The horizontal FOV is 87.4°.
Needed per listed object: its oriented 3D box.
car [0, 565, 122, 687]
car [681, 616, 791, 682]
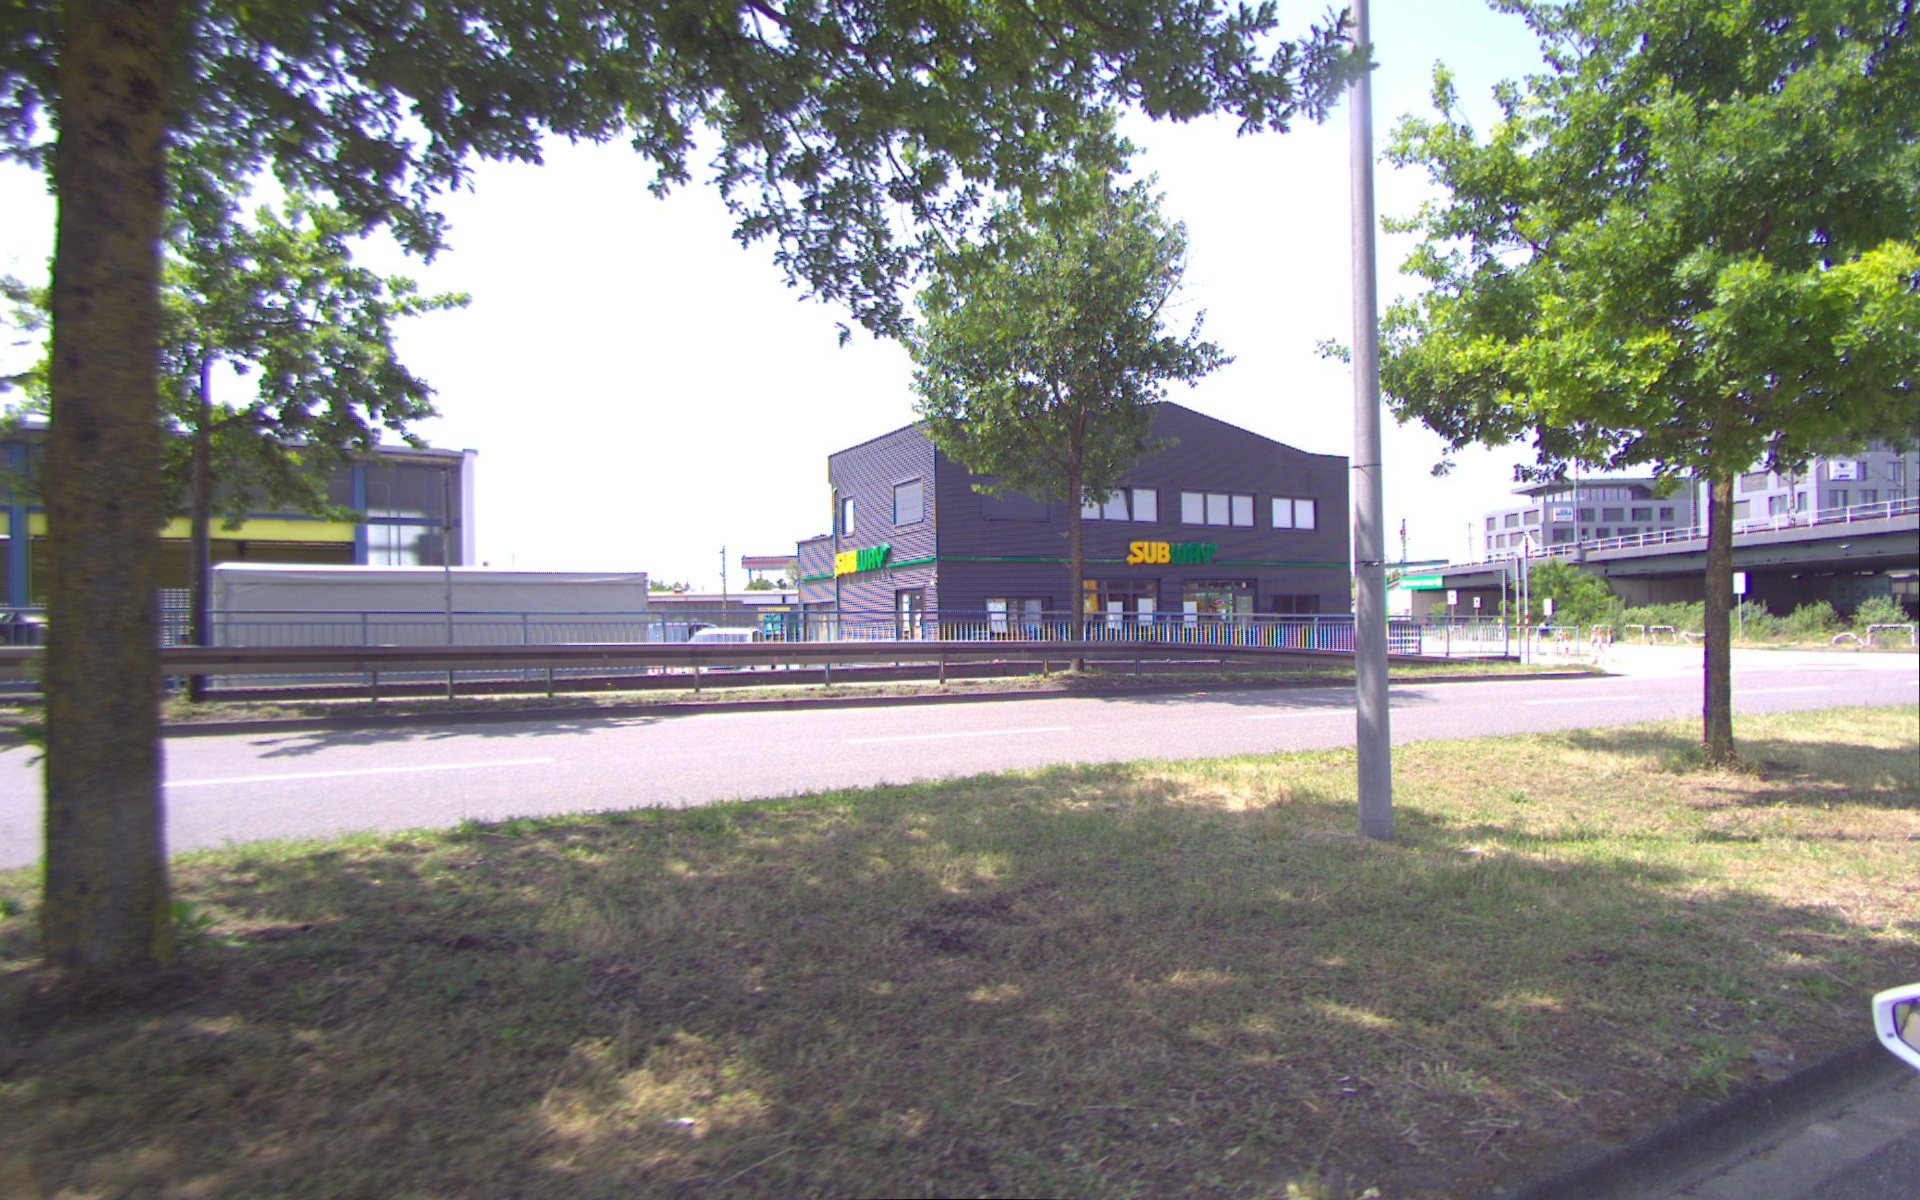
[{"bbox_3d":[-14.220,0.363,13.228,4.586,1.589,1.889,1,-4,-31],"label":"car"},{"bbox_3d":[-5.145,1.081,23.554,1.626,1.398,4.001,0,-1,1],"label":"car"}]
